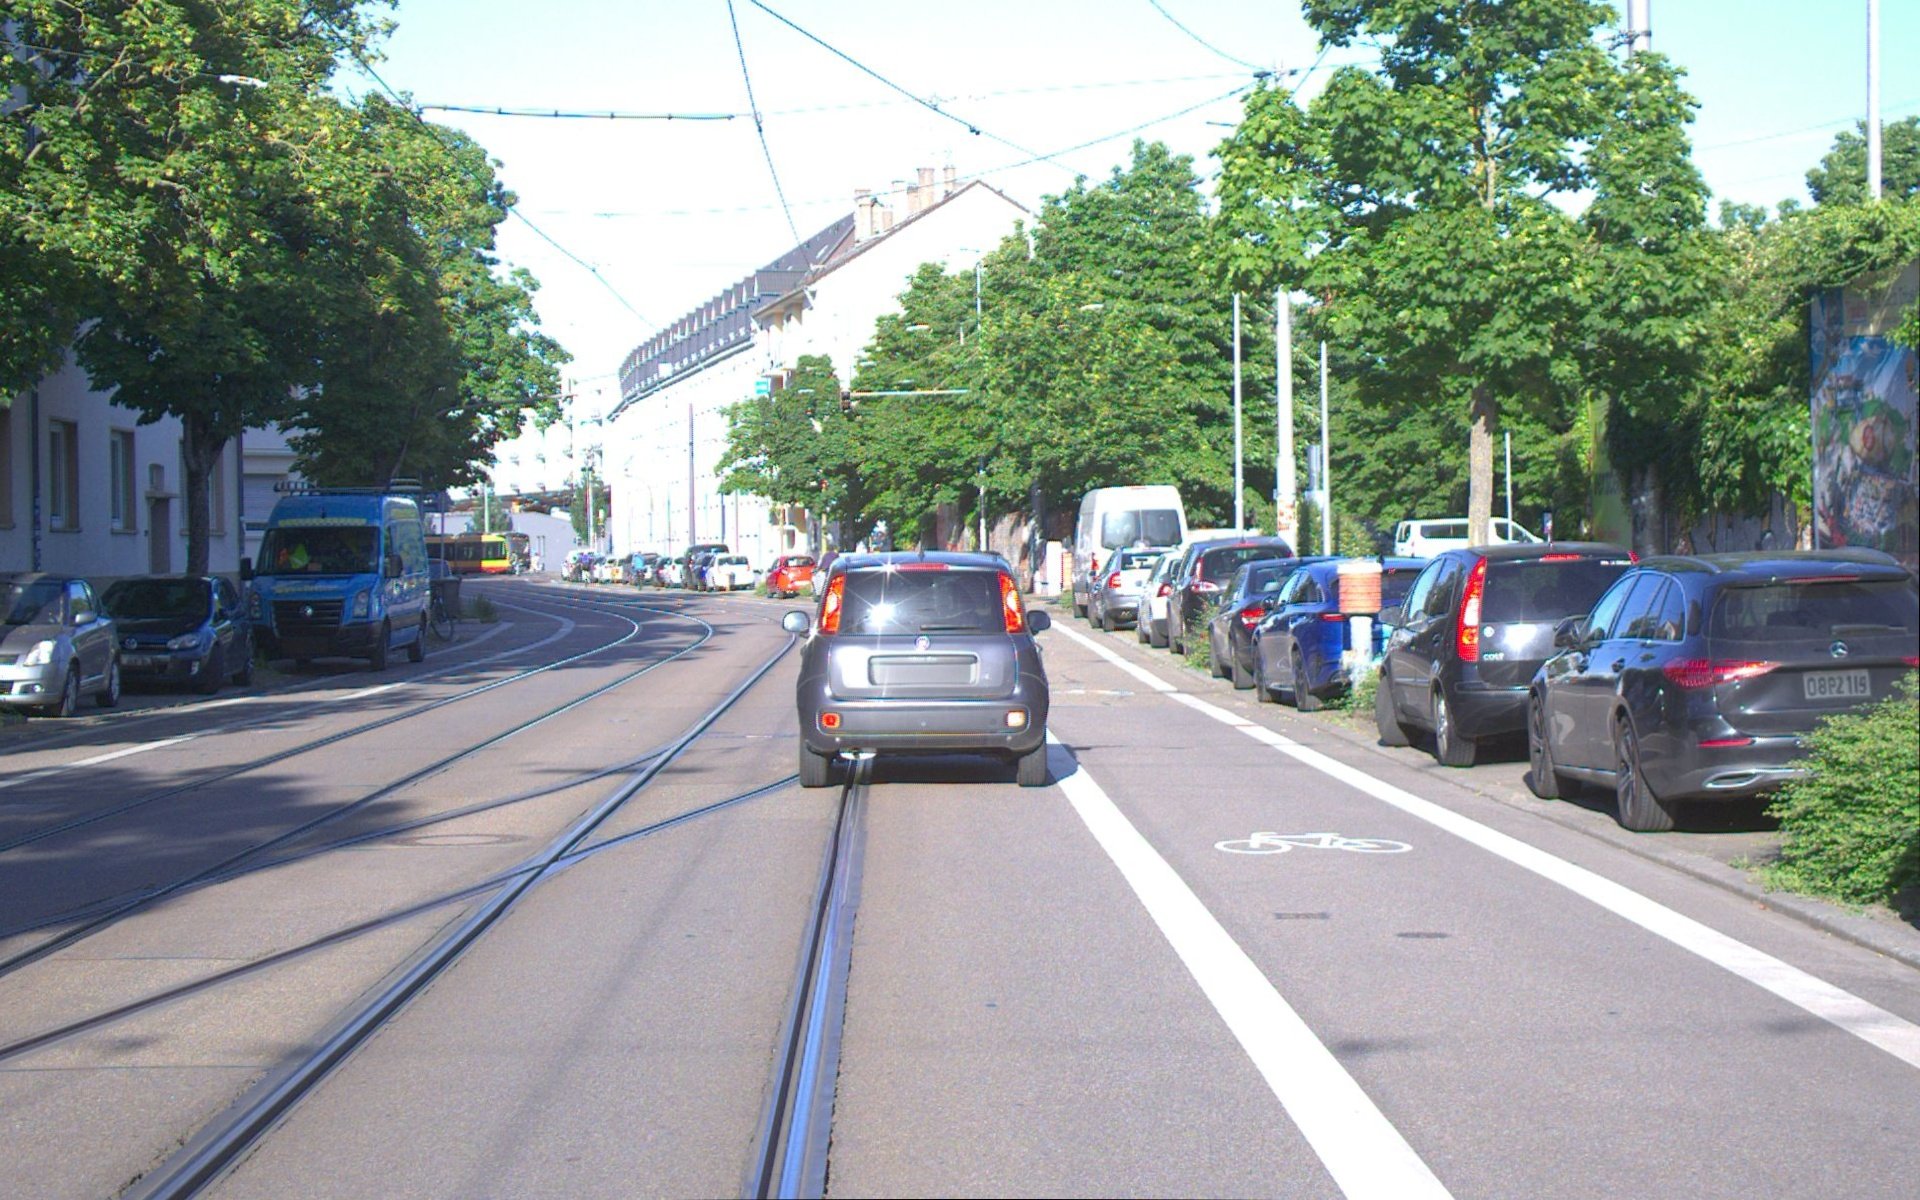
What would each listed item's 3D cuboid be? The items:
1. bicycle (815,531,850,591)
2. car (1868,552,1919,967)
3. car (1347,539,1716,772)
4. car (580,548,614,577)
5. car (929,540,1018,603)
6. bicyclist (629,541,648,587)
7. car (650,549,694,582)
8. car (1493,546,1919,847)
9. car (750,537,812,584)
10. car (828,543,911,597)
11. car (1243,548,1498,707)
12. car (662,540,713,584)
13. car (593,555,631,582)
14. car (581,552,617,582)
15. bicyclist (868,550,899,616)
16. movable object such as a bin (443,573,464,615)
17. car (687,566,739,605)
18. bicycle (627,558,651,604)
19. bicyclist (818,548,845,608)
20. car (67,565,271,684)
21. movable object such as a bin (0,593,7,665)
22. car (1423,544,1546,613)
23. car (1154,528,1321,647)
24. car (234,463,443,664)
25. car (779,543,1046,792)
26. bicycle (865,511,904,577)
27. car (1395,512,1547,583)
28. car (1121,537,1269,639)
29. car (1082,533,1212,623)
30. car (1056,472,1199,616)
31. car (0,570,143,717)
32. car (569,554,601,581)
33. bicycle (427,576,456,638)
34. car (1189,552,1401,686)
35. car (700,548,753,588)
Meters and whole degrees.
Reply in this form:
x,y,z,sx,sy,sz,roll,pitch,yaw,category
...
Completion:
x,y,z,sx,sy,sz,roll,pitch,yaw,category
-3.756,-1.153,101.243,0.675,1.741,2.158,0,1,-12,bicycle
4.338,0.590,10.639,1.824,1.479,4.601,0,1,0,car
4.077,0.353,25.114,1.824,1.487,3.815,-3,1,-3,car
-20.207,-2.064,191.388,1.582,1.593,3.377,0,1,-12,car
0.332,-0.740,88.144,1.688,1.525,4.001,-2,1,-8,car
-14.072,-1.584,150.570,0.715,2.007,0.832,0,0,-12,bicyclist
-13.234,-1.598,157.671,1.655,1.495,3.130,0,1,-11,car
4.273,0.442,19.188,1.824,1.447,4.642,-1,1,0,car
-6.219,-1.377,119.433,1.635,1.503,3.398,-3,1,-10,car
-2.780,-0.913,104.849,1.688,1.525,4.001,-2,1,-13,car
3.958,0.229,33.792,1.727,1.459,4.342,0,1,-4,car
-12.011,-1.674,151.214,1.655,1.937,4.666,0,1,-11,car
-18.209,-1.651,179.774,1.582,1.400,3.377,0,1,-12,car
-19.454,-1.801,185.333,1.582,1.593,3.377,0,1,-12,car
-2.069,-0.465,92.406,0.699,1.753,0.758,0,0,-12,bicyclist
-11.813,-0.148,80.236,0.484,0.984,0.660,0,0,-8,movable object such as a bin
-10.211,-0.612,141.933,1.655,1.566,3.877,0,1,-11,car
-14.078,-0.828,150.604,0.741,2.007,2.812,0,1,-12,bicycle
-3.790,-0.657,101.367,0.699,1.753,0.758,0,0,-12,bicyclist
-9.911,0.273,43.341,1.651,1.420,4.190,0,1,-1,car
-12.768,0.388,44.693,0.596,0.931,0.569,-1,1,-3,movable object such as a bin
7.980,-0.335,52.493,1.309,1.030,3.057,0,1,-2,car
3.853,-0.189,48.318,1.727,1.599,4.343,0,1,-4,car
-9.184,-0.547,51.313,2.017,2.816,6.032,0,1,0,car
-0.337,0.390,23.566,1.650,1.536,4.235,1,1,-1,car
-2.033,-1.496,92.351,0.675,1.741,2.158,0,1,-12,bicycle
15.801,-1.612,106.436,4.279,2.007,1.774,-2,1,-6,car
3.585,-0.196,53.100,1.727,1.507,4.252,0,1,-4,car
3.336,-0.408,62.191,1.910,1.524,4.601,-1,1,-2,car
3.298,-1.111,68.961,2.180,2.656,6.092,-3,1,-2,car
-10.080,0.429,37.021,1.651,1.486,4.000,0,1,-1,car
-22.236,-1.933,203.762,1.582,1.593,3.377,0,1,-12,car
-9.647,0.120,63.965,0.512,1.130,2.032,0,1,-8,bicycle
3.793,0.181,39.627,1.727,1.459,4.499,0,1,-4,car
-9.370,-1.270,137.570,1.655,1.566,3.500,0,1,-11,car
